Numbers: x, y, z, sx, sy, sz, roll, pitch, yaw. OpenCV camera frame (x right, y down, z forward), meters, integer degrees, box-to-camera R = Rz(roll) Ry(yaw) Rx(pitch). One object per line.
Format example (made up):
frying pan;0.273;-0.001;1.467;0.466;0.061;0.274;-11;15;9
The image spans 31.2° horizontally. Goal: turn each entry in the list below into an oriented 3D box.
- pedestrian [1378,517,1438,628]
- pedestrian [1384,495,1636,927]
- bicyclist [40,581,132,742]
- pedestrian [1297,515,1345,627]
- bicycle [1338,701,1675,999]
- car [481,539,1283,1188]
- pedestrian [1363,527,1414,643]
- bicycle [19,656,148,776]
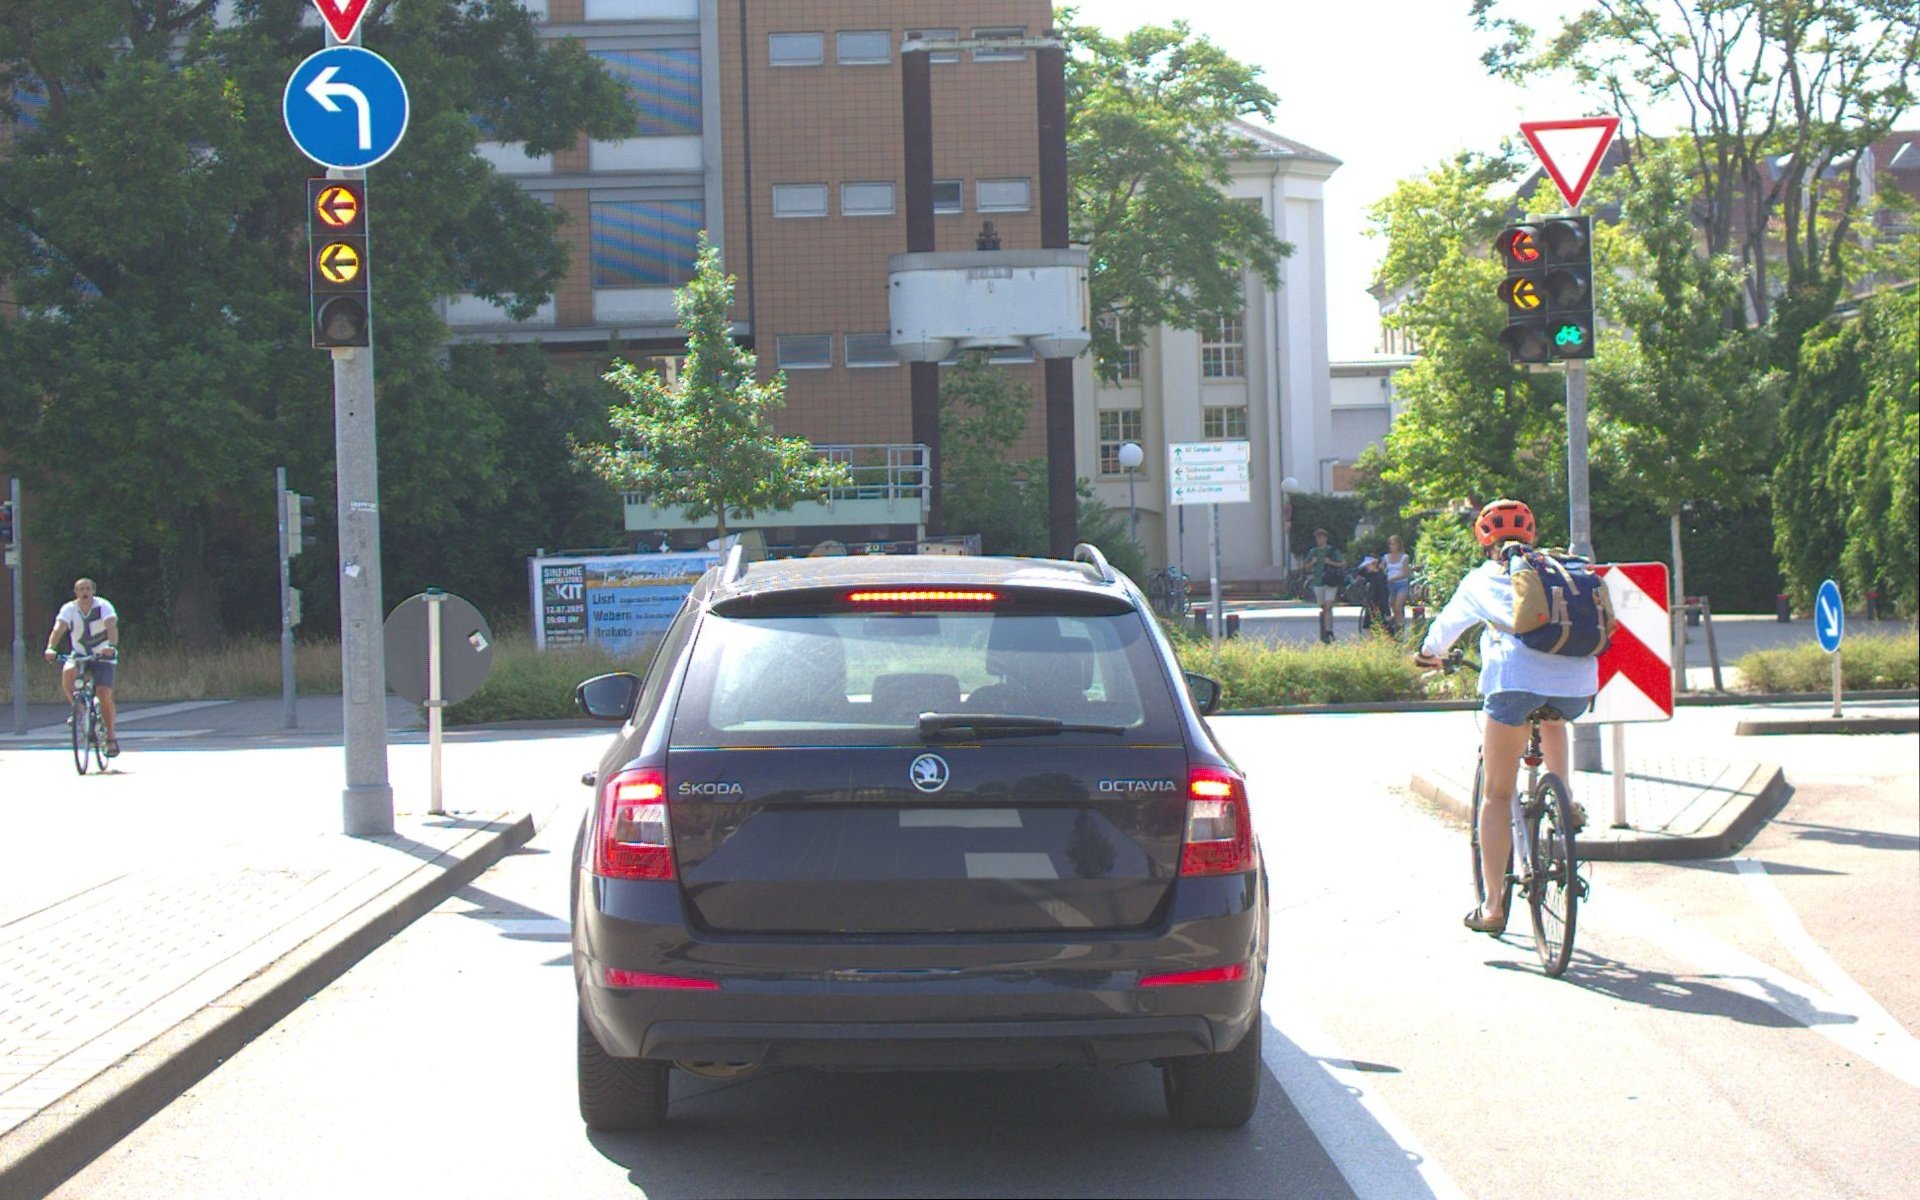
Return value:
pedestrian;7.763;-0.471;59.581;0.795;1.868;0.638;-3;1;25
pedestrian;1.933;0.372;12.188;0.583;1.461;1.014;0;0;-9
bicyclist;-7.924;0.552;31.192;0.539;1.412;1.030;-3;0;-2
pedestrian;6.129;-0.488;58.299;0.597;1.868;0.638;-2;1;23
bicycle;1.916;0.852;12.342;0.596;0.928;2.028;0;0;-9
car;-0.179;0.561;9.556;1.780;1.438;3.818;0;1;0
pedestrian;7.095;-0.252;56.963;0.637;1.868;0.796;-3;1;-1
bicycle;-7.951;1.041;31.262;0.704;0.974;2.031;-2;1;-2
